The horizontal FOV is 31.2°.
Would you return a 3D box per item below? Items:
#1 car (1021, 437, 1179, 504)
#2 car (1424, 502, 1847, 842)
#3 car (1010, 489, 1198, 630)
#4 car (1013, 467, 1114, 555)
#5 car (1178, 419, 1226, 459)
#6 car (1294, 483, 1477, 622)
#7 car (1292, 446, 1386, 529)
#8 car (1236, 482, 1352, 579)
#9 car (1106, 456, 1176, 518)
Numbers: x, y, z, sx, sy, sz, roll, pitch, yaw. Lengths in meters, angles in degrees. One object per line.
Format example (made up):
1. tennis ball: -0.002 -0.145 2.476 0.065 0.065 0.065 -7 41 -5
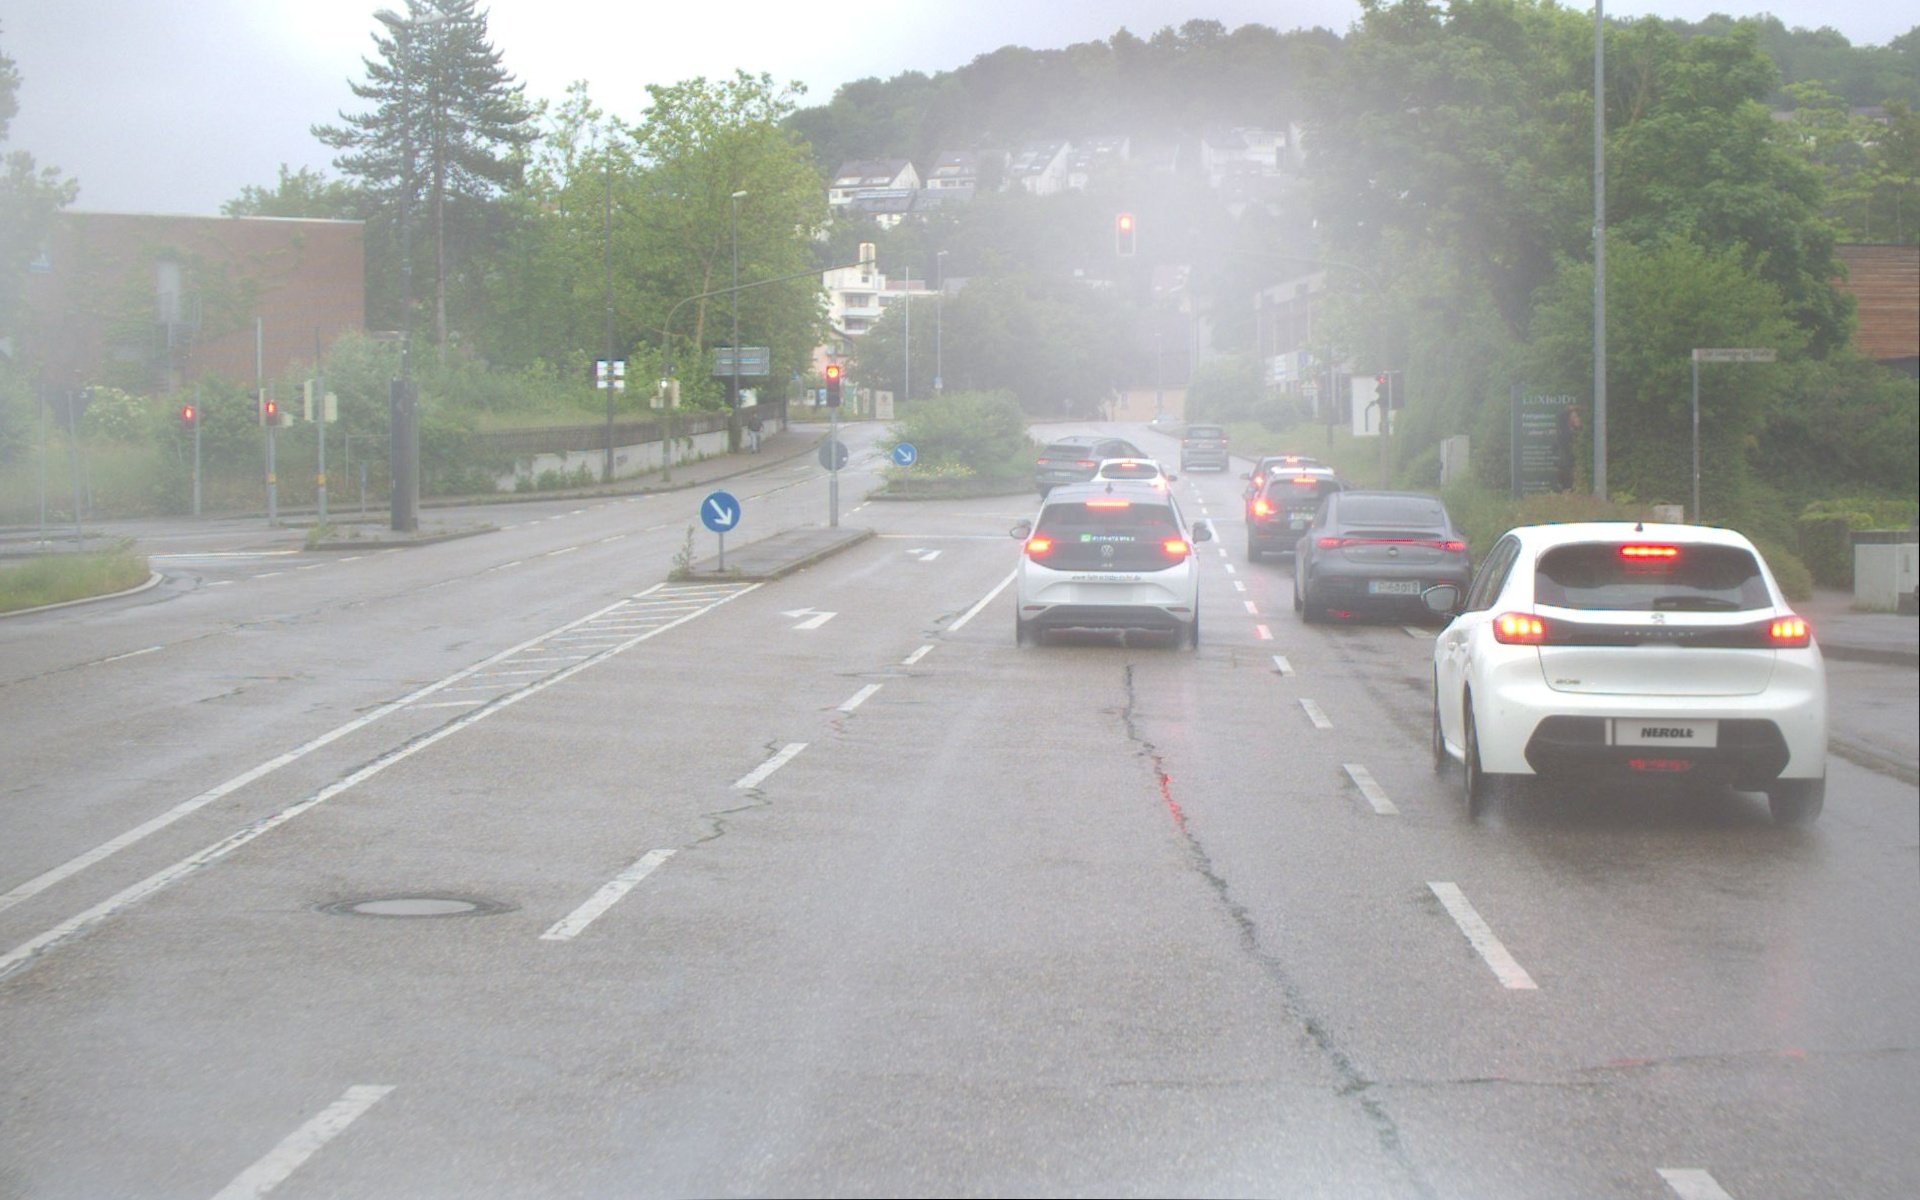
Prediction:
1. car: 3.523 -3.247 86.524 3.514 1.564 1.800 -1 -1 -31
2. car: 3.380 0.275 17.843 1.691 1.514 3.933 0 2 5
3. car: 1.466 -0.398 33.939 1.741 1.291 3.333 -1 0 4
4. car: 1.457 -1.246 48.777 1.212 1.152 2.270 -1 -1 -3
5. car: 7.855 -5.215 111.747 1.366 1.153 2.426 -1 0 1
6. car: 4.831 -0.574 39.403 1.734 1.383 3.353 1 4 1
7. car: 7.221 -2.128 65.822 1.565 1.392 3.957 -1 -1 3
8. car: 5.518 -1.124 57.056 1.648 1.480 3.366 -1 -1 2
9. car: 3.720 -2.302 70.500 1.385 1.123 2.610 -1 -1 3
